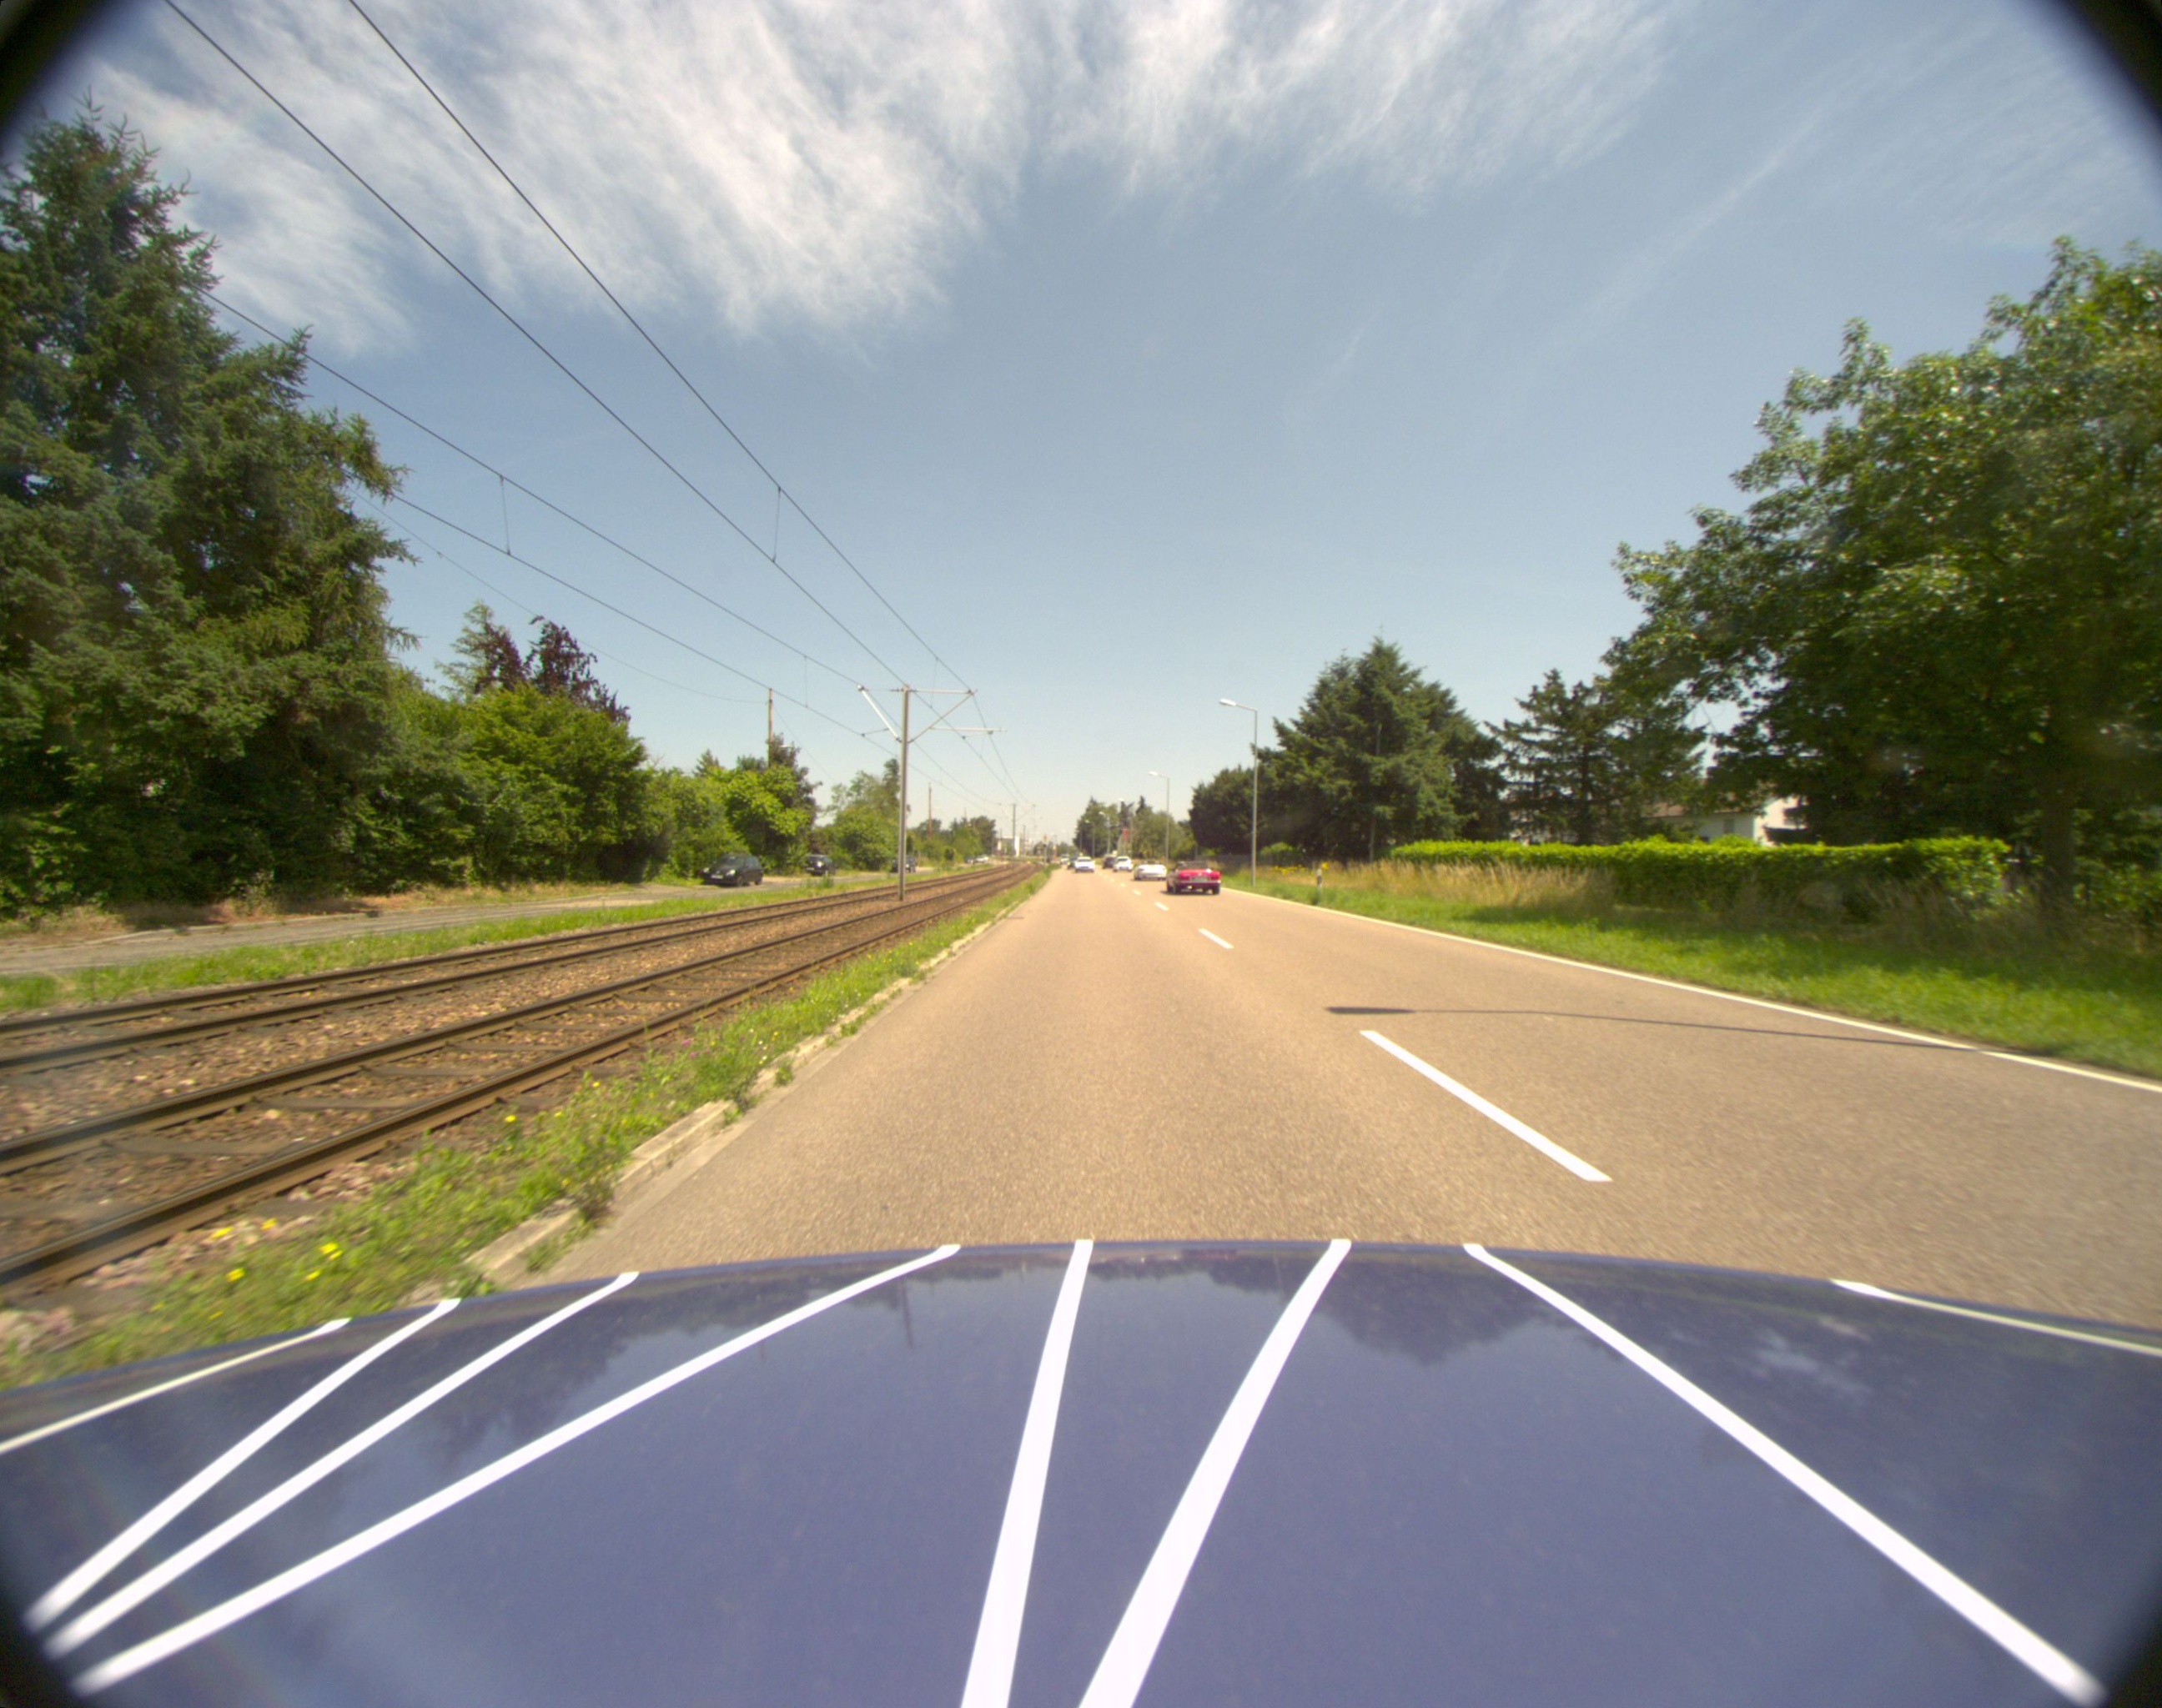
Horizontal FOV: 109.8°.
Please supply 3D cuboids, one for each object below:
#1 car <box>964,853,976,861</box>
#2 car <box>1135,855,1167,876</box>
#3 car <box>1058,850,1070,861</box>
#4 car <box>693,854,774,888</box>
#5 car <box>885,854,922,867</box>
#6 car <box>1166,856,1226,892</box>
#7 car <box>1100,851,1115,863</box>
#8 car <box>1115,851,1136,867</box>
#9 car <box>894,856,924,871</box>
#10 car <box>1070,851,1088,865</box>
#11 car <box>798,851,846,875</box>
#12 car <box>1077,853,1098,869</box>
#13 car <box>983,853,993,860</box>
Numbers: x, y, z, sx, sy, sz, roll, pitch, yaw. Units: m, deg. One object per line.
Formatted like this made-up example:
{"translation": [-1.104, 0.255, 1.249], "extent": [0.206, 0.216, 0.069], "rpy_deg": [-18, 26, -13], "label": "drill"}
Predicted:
{"translation": [-20.154, 0.494, 137.996], "extent": [1.624, 1.414, 4.871], "rpy_deg": [0, 0, -4], "label": "car"}
{"translation": [4.406, 0.712, 48.413], "extent": [1.686, 1.242, 3.908], "rpy_deg": [0, 0, 0], "label": "car"}
{"translation": [-3.119, 0.316, 139.037], "extent": [1.938, 2.002, 3.998], "rpy_deg": [0, 1, -4], "label": "car"}
{"translation": [-16.047, 0.732, 35.317], "extent": [1.919, 1.462, 3.999], "rpy_deg": [0, 1, 0], "label": "car"}
{"translation": [-21.512, 0.764, 92.199], "extent": [3.996, 1.509, 1.899], "rpy_deg": [0, 1, 4], "label": "car"}
{"translation": [4.516, 0.768, 30.396], "extent": [1.753, 1.293, 4.253], "rpy_deg": [0, 0, 0], "label": "car"}
{"translation": [3.158, 0.349, 91.372], "extent": [1.705, 1.483, 4.439], "rpy_deg": [0, 0, 0], "label": "car"}
{"translation": [4.284, 0.448, 73.741], "extent": [1.751, 1.494, 3.707], "rpy_deg": [0, 1, 0], "label": "car"}
{"translation": [-15.235, 0.825, 67.516], "extent": [1.866, 1.322, 4.513], "rpy_deg": [0, 0, -3], "label": "car"}
{"translation": [-0.266, 0.470, 89.790], "extent": [1.999, 1.576, 3.999], "rpy_deg": [0, 1, -2], "label": "car"}
{"translation": [-17.801, 0.569, 52.430], "extent": [1.940, 1.552, 4.554], "rpy_deg": [0, 0, -3], "label": "car"}
{"translation": [0.623, 0.652, 72.432], "extent": [1.857, 1.447, 3.705], "rpy_deg": [0, 1, -2], "label": "car"}
{"translation": [-19.232, 0.554, 156.796], "extent": [1.945, 1.414, 3.998], "rpy_deg": [0, 1, -5], "label": "car"}
